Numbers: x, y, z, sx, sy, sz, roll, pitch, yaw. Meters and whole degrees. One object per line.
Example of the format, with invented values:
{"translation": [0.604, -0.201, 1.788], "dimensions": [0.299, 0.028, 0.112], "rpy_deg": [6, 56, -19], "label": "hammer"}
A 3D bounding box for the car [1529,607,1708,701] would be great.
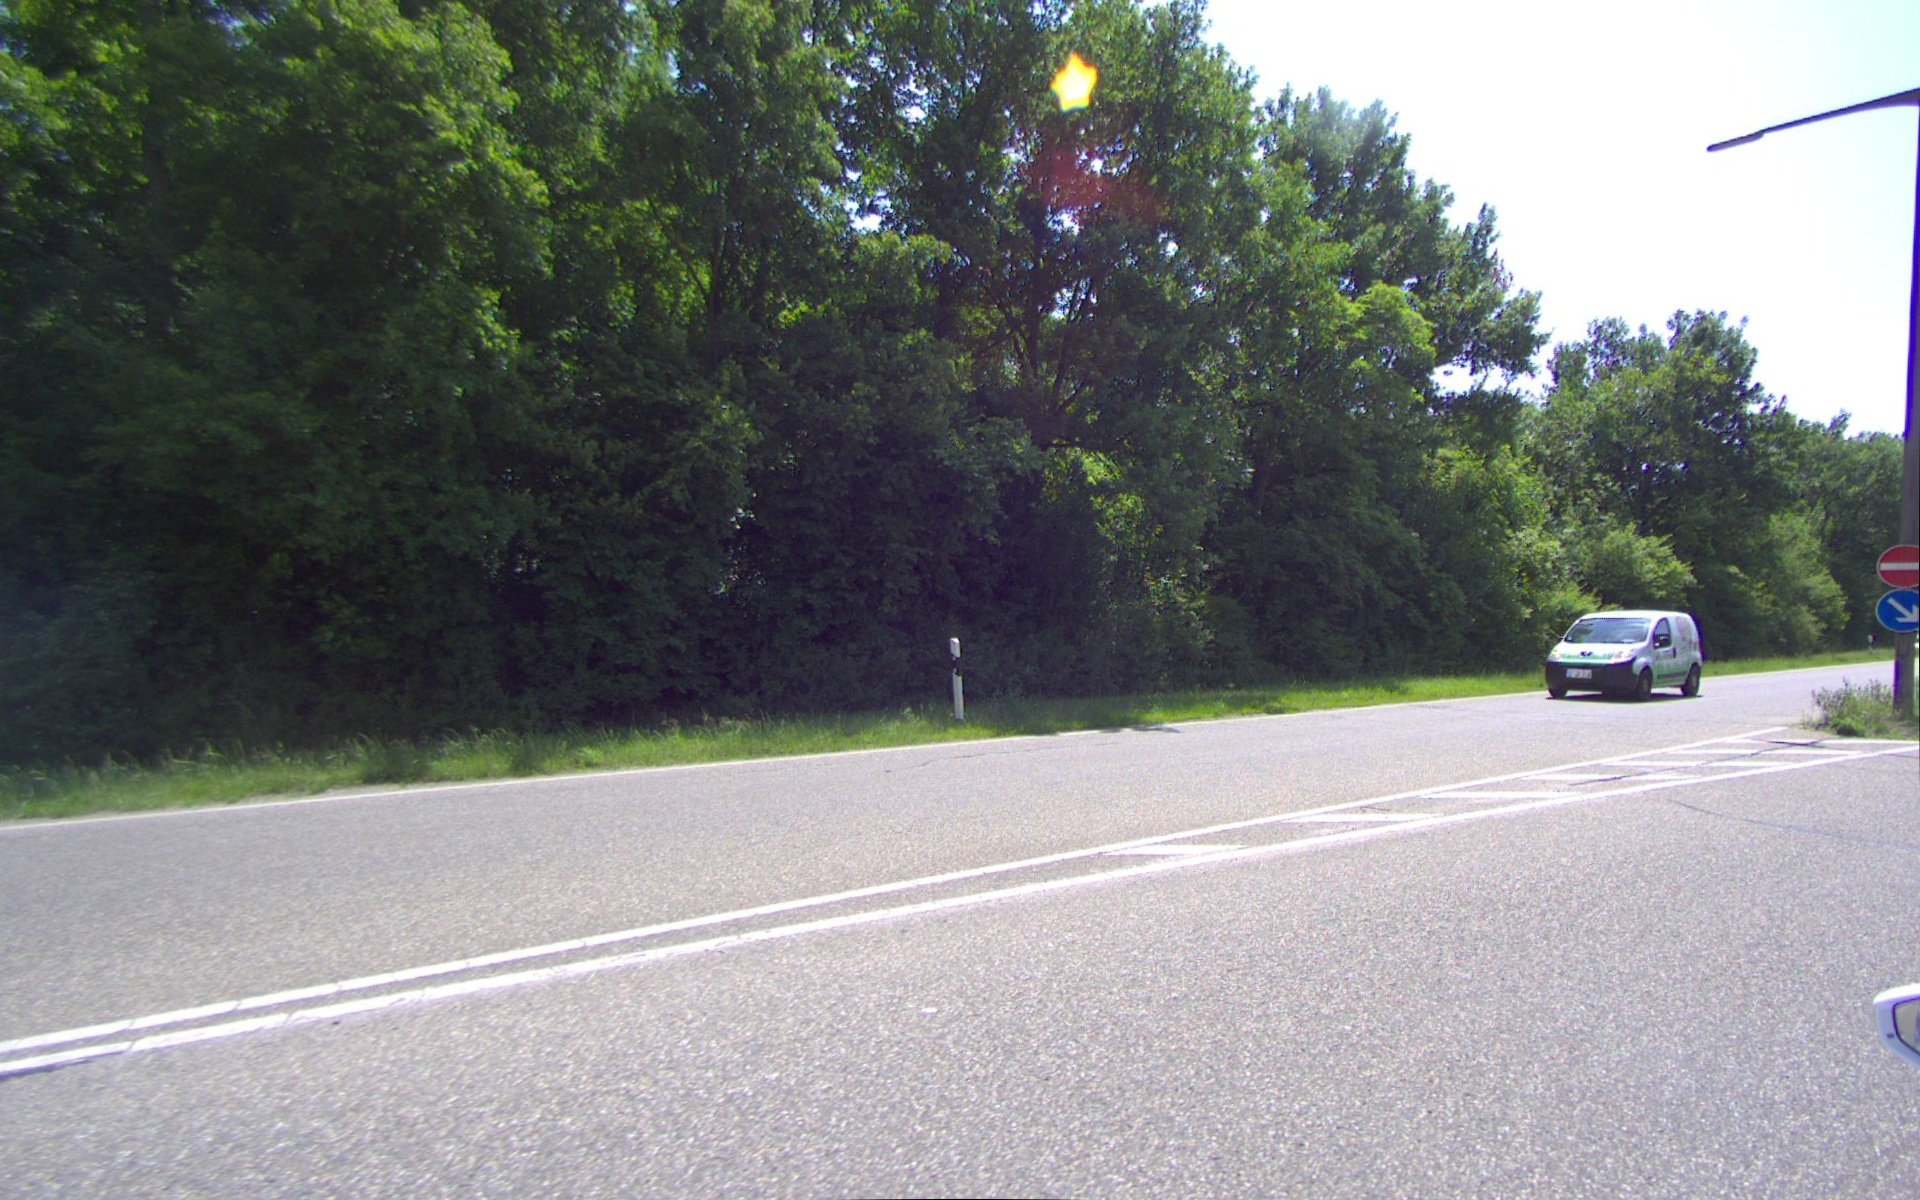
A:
{"translation": [13.350, 1.038, 20.289], "dimensions": [4.056, 1.710, 1.720], "rpy_deg": [1, -2, -37], "label": "car"}
